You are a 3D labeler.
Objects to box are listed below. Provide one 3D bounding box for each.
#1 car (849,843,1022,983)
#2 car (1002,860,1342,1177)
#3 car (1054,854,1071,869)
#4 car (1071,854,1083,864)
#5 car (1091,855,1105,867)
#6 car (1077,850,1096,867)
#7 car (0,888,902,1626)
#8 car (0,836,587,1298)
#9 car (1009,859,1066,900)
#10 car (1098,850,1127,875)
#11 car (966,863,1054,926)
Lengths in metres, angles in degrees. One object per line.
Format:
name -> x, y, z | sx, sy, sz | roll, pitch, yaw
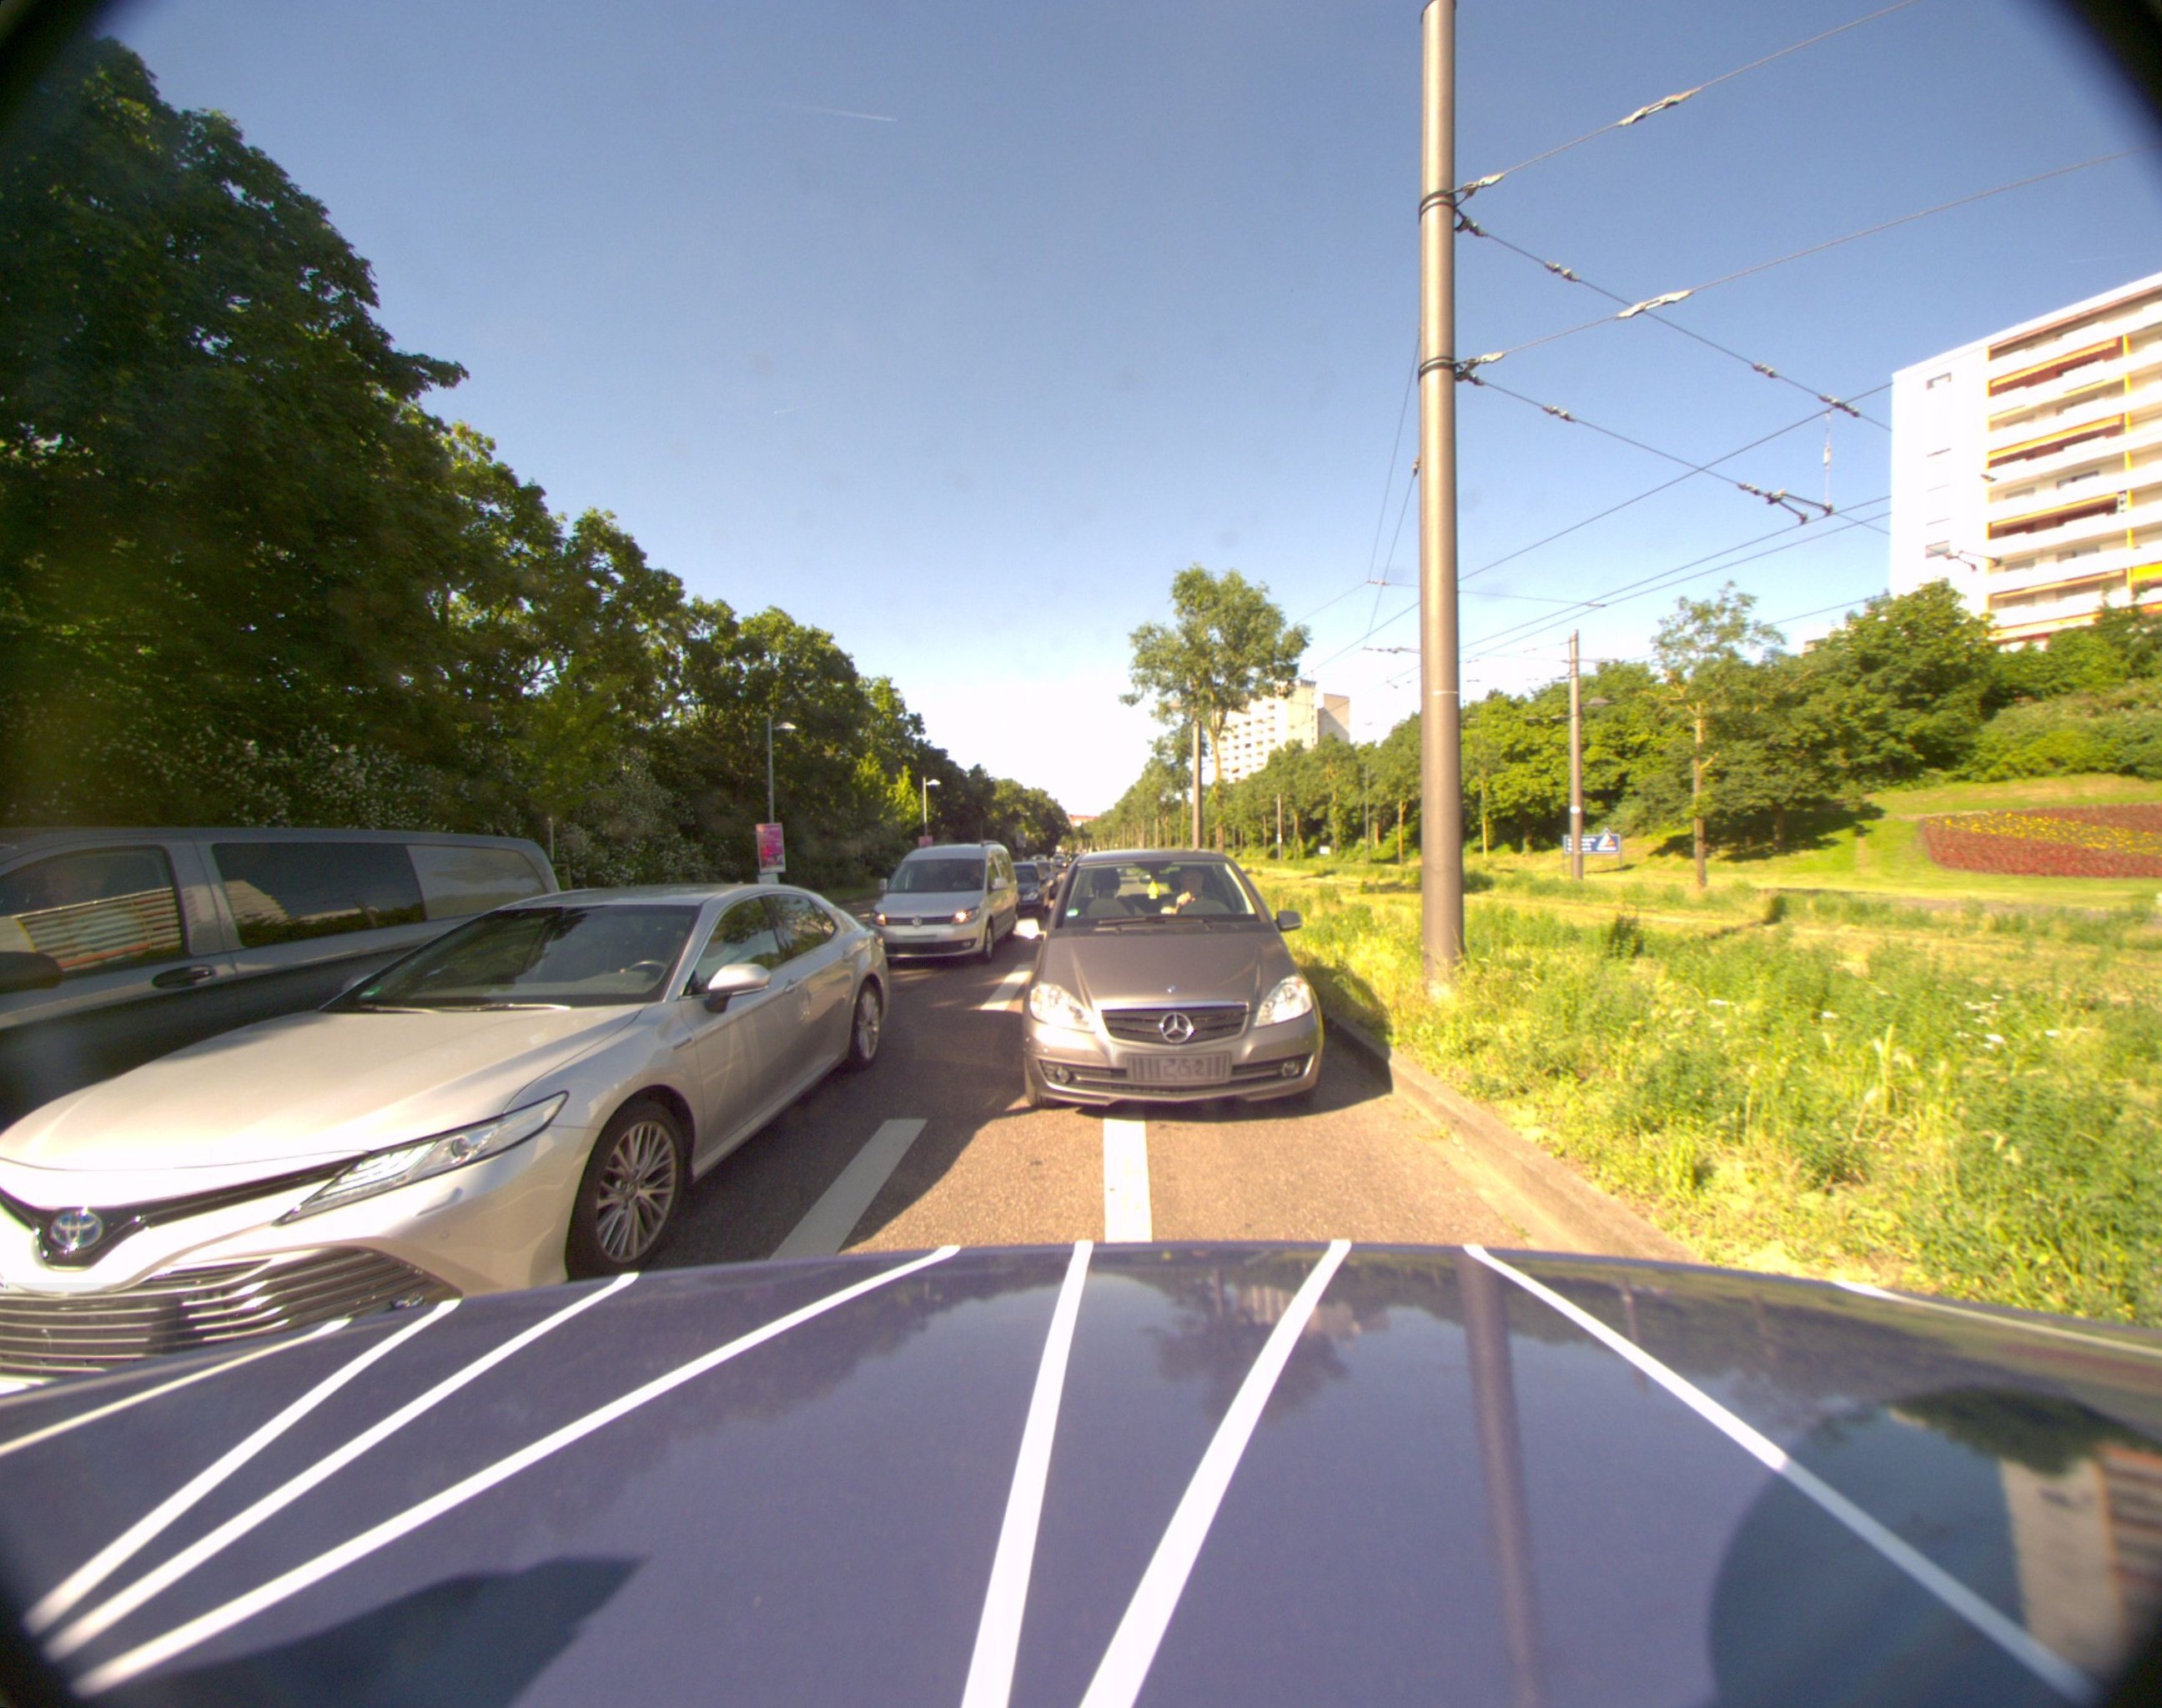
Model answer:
car -> -2.155, 0.792, 12.624 | 1.822, 1.893, 4.622 | -1, 0, 2
car -> 0.514, 0.893, 6.210 | 1.777, 1.597, 4.384 | -1, 0, 1
car -> -2.090, 0.849, 85.612 | 1.777, 1.597, 4.384 | -1, 0, 1
car -> -0.601, 0.775, 124.011 | 1.777, 1.597, 4.300 | -1, 0, 1
car -> 2.215, 0.925, 101.951 | 1.777, 1.597, 4.384 | -1, 0, 1
car -> 0.562, 0.456, 75.587 | 1.777, 1.597, 4.384 | -1, 0, 1
car -> -2.647, 1.042, 4.126 | 2.069, 1.451, 4.749 | -1, 0, 2
car -> -5.395, 0.878, 4.065 | 1.998, 1.882, 5.148 | -1, 0, 1
car -> -1.575, 0.904, 28.734 | 1.776, 1.395, 4.067 | -1, 0, 2
car -> 2.044, 0.522, 49.966 | 1.777, 1.597, 4.384 | -1, 0, 1
car -> -1.725, 0.965, 19.719 | 1.776, 1.395, 4.067 | -1, 0, 2
